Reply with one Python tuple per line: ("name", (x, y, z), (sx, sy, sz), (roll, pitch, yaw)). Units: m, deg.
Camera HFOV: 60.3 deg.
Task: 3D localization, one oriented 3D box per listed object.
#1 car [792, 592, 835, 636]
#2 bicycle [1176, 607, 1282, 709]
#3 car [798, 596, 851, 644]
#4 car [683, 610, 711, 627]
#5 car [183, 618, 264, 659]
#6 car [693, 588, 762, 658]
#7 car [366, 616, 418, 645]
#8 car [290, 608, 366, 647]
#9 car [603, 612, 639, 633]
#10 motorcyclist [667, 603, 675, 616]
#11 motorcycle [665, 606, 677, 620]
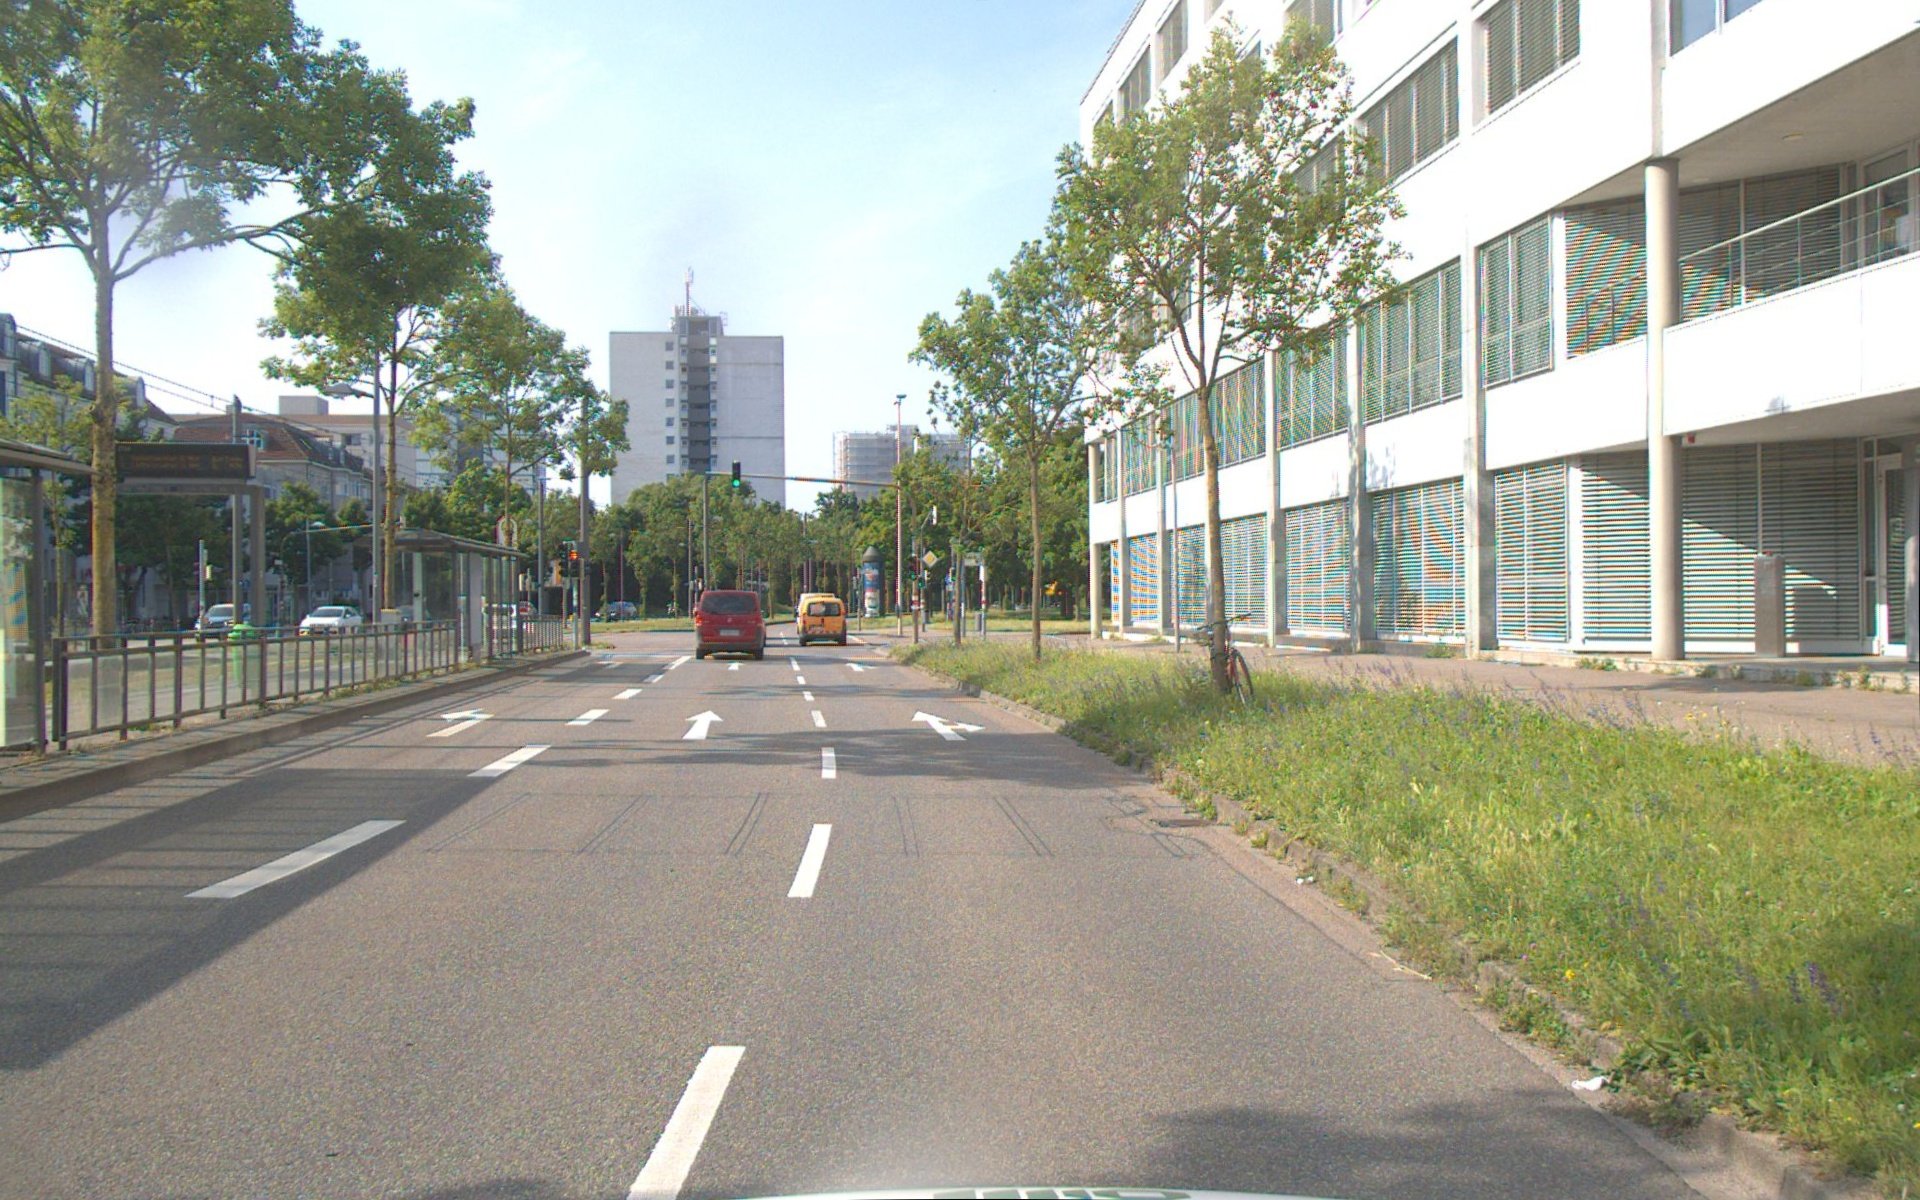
("car", (-7.189, 0.691, 81.147), (1.955, 2.049, 3.994), (1, -1, -7))
("bicycle", (2.865, 0.595, 17.796), (0.606, 1.035, 1.876), (0, -1, -8))
("car", (-5.011, 0.734, 60.906), (1.840, 1.726, 3.968), (0, -1, -6))
("car", (-25.883, 1.836, 162.924), (1.835, 1.601, 4.002), (0, -1, 6))
("car", (-31.187, 1.618, 70.129), (1.955, 1.624, 3.994), (1, -1, -6))
("car", (-6.548, 0.641, 46.590), (1.839, 1.886, 3.993), (0, -1, -8))
("car", (-32.842, 1.749, 95.768), (1.838, 1.601, 3.997), (0, -1, -4))
("car", (-28.028, 1.218, 73.489), (1.954, 1.624, 4.047), (1, -1, -3))
("car", (-26.821, 1.777, 131.099), (1.836, 1.601, 4.001), (1, -1, 2))
("motorcyclist", (-25.780, 0.844, 147.596), (0.606, 1.187, 0.551), (0, -1, 7))
("motorcycle", (-25.768, 1.173, 147.644), (0.624, 1.187, 1.645), (0, -1, 7))
